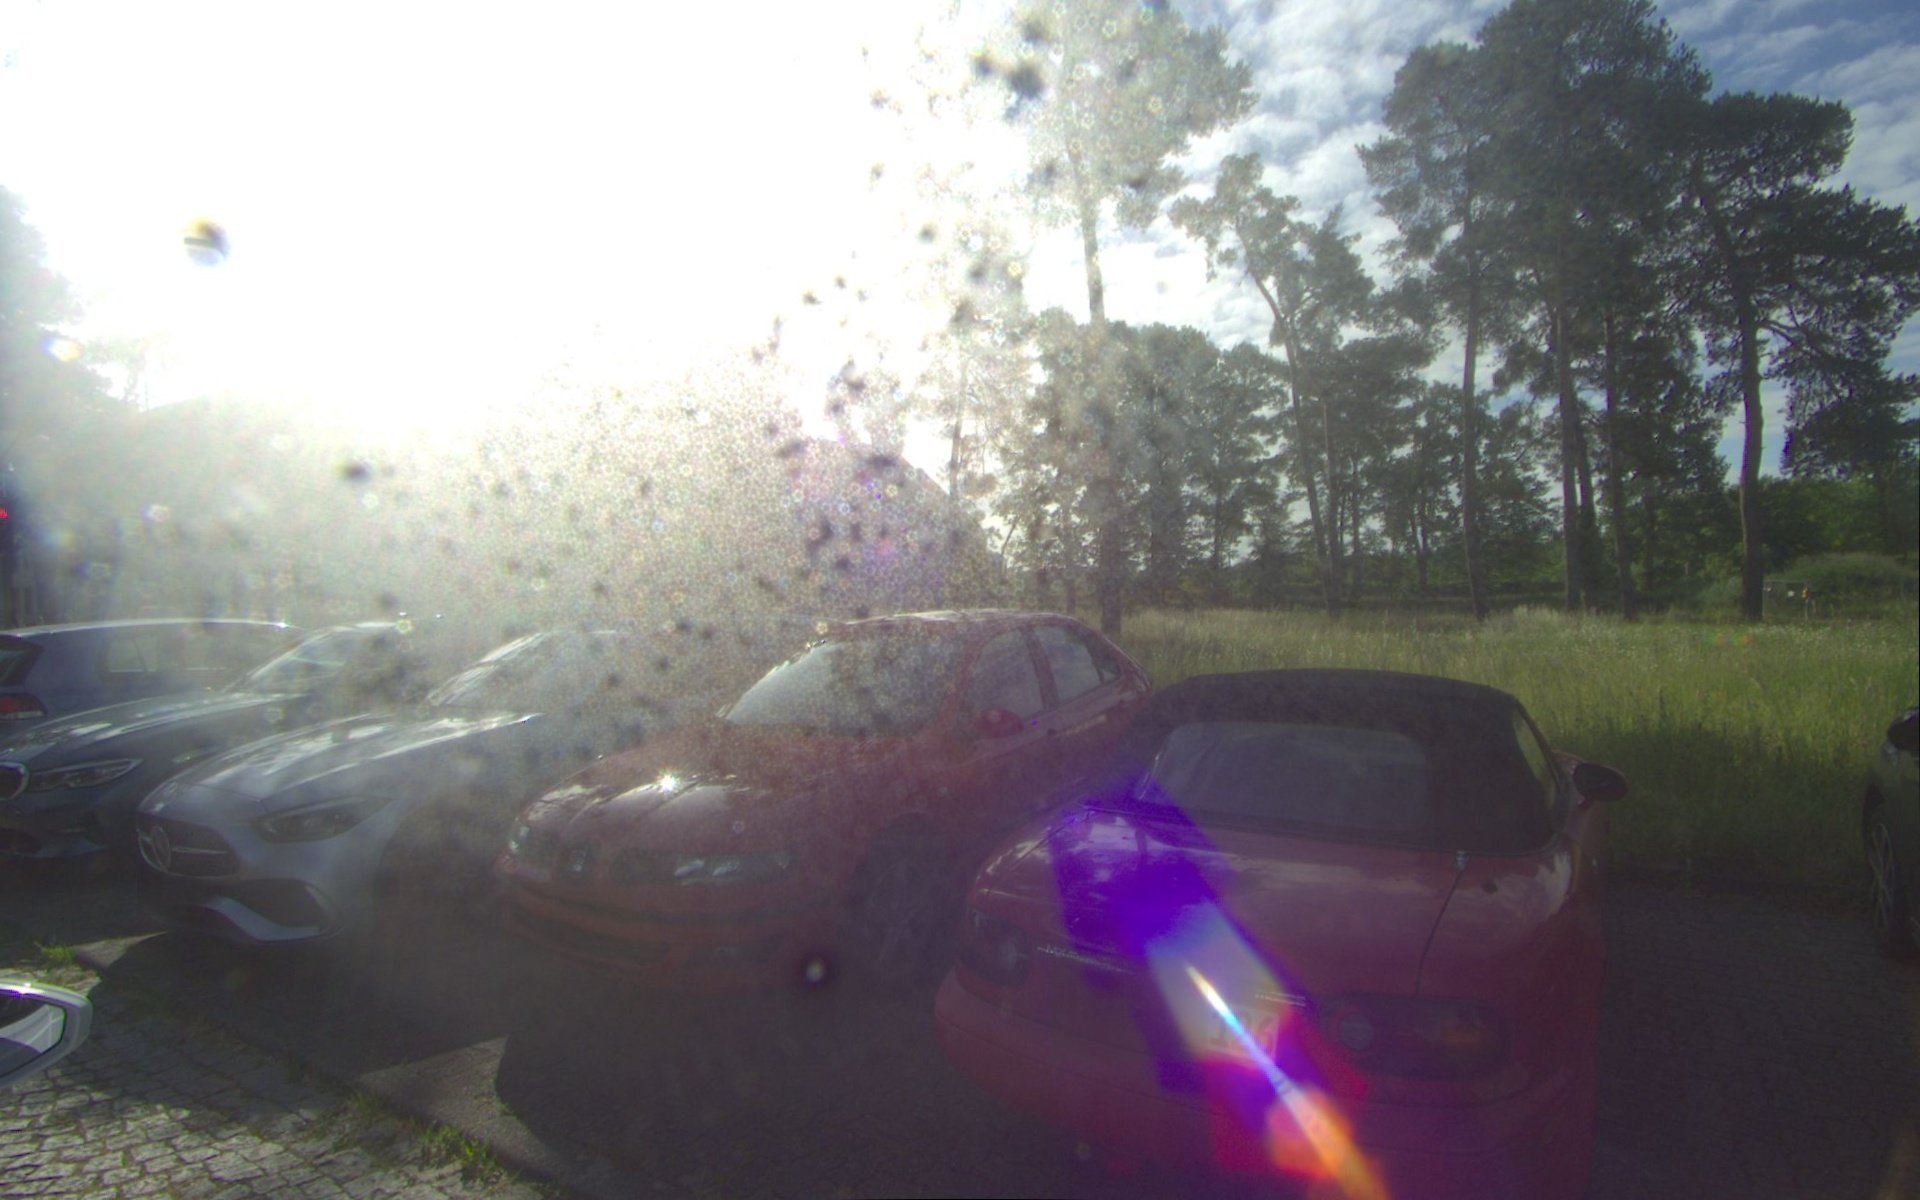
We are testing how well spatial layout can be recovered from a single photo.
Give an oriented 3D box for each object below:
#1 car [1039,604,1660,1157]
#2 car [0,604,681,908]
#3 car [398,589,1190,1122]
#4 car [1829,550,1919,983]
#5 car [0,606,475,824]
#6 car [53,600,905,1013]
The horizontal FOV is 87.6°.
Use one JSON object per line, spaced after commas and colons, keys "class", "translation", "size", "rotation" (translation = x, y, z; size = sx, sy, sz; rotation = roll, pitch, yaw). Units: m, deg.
{"class": "car", "translation": [1.989, 0.707, 4.493], "size": [1.722, 1.240, 3.697], "rotation": [0, 2, 33]}
{"class": "car", "translation": [-4.447, 0.835, 7.599], "size": [1.613, 1.434, 4.547], "rotation": [0, 2, 33]}
{"class": "car", "translation": [-0.321, 0.734, 5.084], "size": [1.613, 1.469, 4.116], "rotation": [0, 2, 33]}
{"class": "car", "translation": [3.806, 0.572, 2.579], "size": [1.790, 1.469, 3.698], "rotation": [0, 2, 32]}
{"class": "car", "translation": [-6.714, 0.849, 9.087], "size": [1.613, 1.434, 3.872], "rotation": [0, 2, 33]}
{"class": "car", "translation": [-2.345, 0.790, 6.130], "size": [1.755, 1.434, 4.420], "rotation": [0, 2, 33]}
